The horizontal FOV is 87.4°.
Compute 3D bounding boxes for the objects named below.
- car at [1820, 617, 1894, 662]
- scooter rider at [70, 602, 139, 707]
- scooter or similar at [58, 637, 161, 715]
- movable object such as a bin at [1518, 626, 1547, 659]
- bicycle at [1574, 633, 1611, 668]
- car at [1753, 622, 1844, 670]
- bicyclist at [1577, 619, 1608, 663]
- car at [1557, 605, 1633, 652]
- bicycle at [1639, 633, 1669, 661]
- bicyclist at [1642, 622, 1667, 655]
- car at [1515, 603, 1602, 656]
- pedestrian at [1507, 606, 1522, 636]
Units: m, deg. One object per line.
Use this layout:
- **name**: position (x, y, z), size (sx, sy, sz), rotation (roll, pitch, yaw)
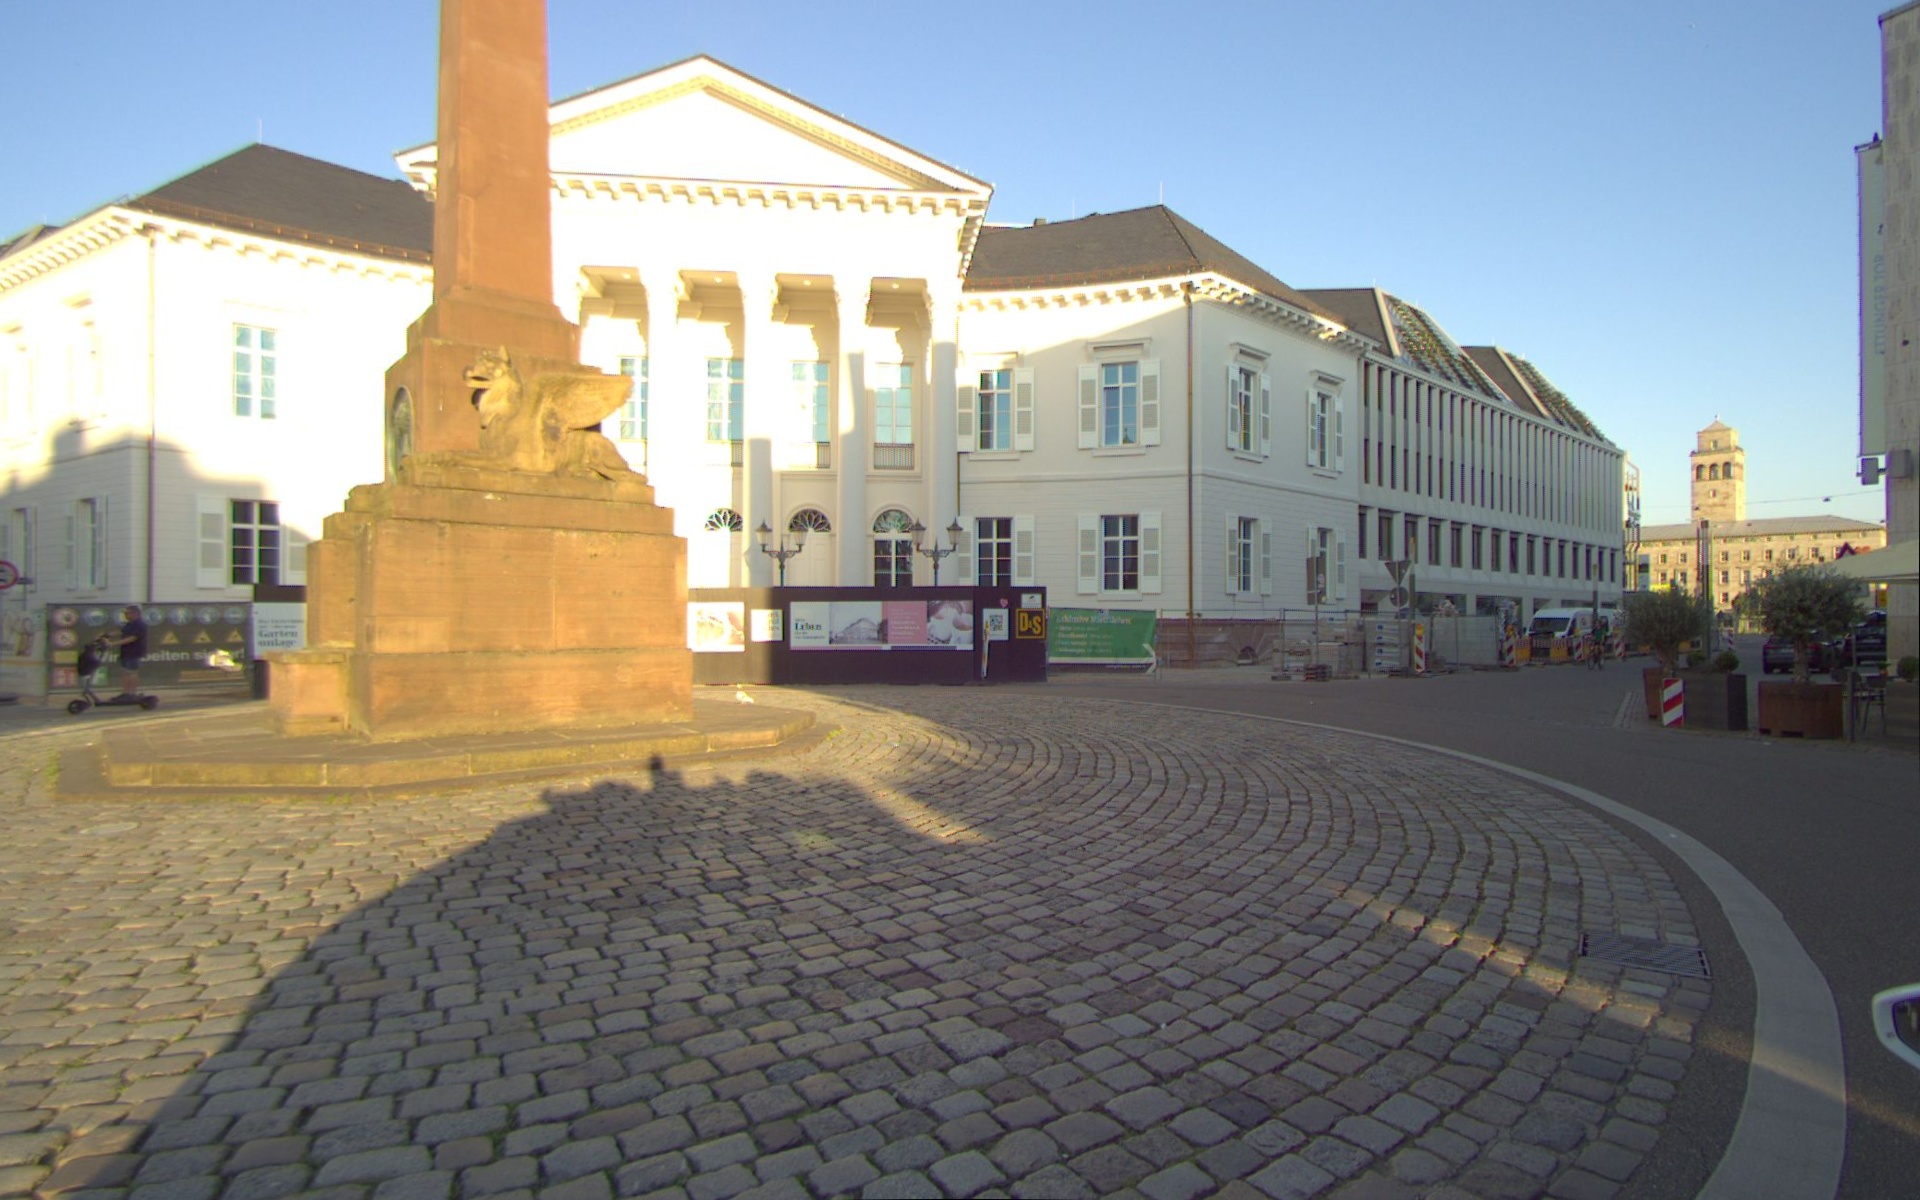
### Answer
- **car**: position (36.179, 1.578, 40.472), size (4.028, 1.659, 1.753), rotation (1, -5, -43)
- **scooter rider**: position (-14.993, 0.939, 17.626), size (0.901, 1.786, 0.678), rotation (1, -1, -40)
- **scooter or similar**: position (-14.925, 1.307, 17.661), size (1.348, 1.288, 0.680), rotation (1, -1, -40)
- **movable object such as a bin**: position (27.009, 1.988, 47.376), size (1.030, 1.485, 1.389), rotation (0, -1, 36)
- **bicycle**: position (23.639, 1.877, 37.533), size (0.787, 1.233, 2.220), rotation (-1, -1, 43)
- **car**: position (29.406, 1.597, 35.182), size (4.161, 1.509, 1.780), rotation (1, -5, -42)
- **bicyclist**: position (23.644, 1.510, 37.543), size (0.787, 1.624, 1.224), rotation (-1, -1, 43)
- **car**: position (35.141, 1.557, 55.515), size (5.956, 2.503, 2.153), rotation (1, -1, -43)
- **bicycle**: position (32.351, 2.187, 46.805), size (0.788, 1.233, 2.219), rotation (-1, -2, 44)
- **bicyclist**: position (32.383, 1.784, 46.819), size (0.788, 1.552, 0.968), rotation (-1, -1, 44)
- **car**: position (29.959, 1.434, 50.211), size (5.955, 2.503, 2.153), rotation (1, -1, -43)
- **pedestrian**: position (29.527, 1.113, 53.492), size (0.575, 1.598, 0.537), rotation (1, -2, -45)
